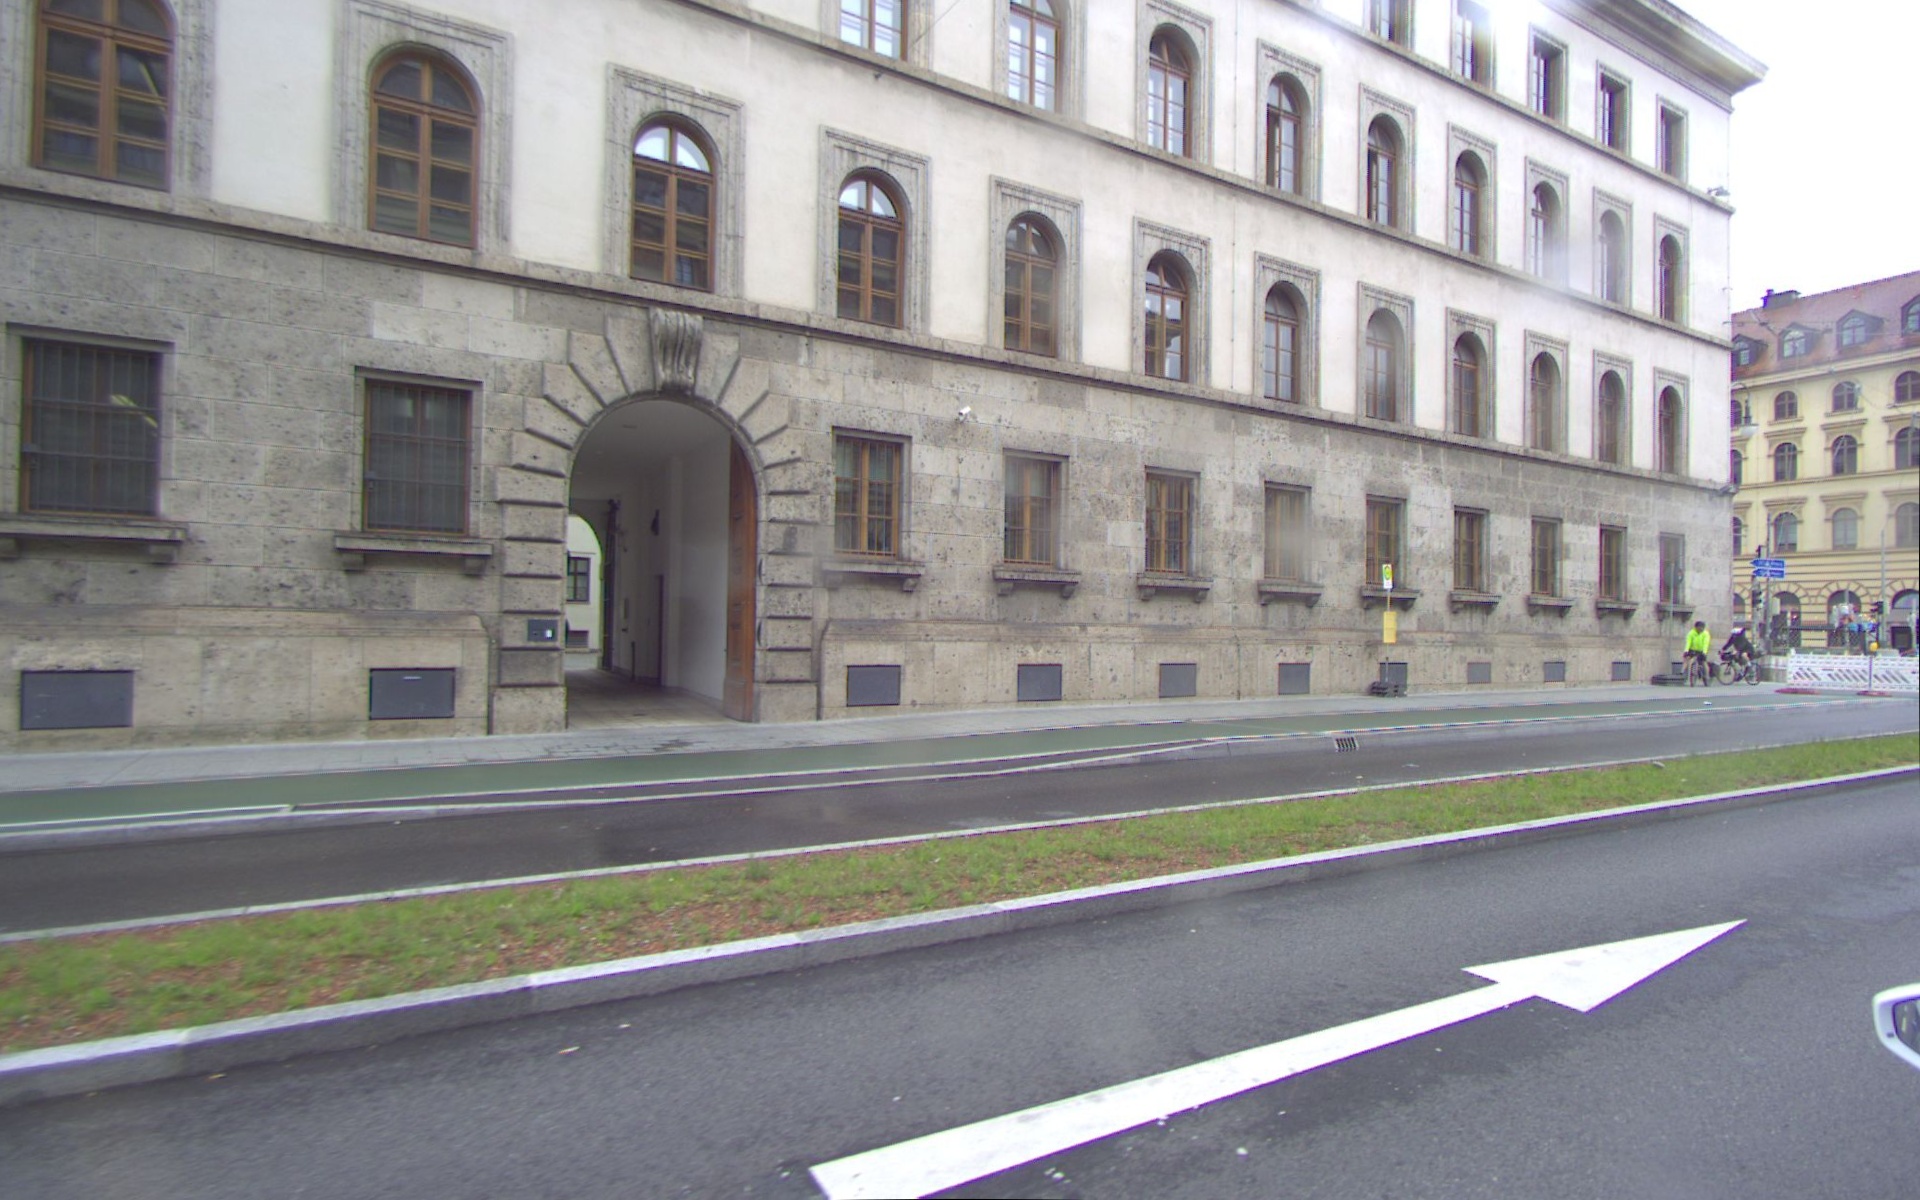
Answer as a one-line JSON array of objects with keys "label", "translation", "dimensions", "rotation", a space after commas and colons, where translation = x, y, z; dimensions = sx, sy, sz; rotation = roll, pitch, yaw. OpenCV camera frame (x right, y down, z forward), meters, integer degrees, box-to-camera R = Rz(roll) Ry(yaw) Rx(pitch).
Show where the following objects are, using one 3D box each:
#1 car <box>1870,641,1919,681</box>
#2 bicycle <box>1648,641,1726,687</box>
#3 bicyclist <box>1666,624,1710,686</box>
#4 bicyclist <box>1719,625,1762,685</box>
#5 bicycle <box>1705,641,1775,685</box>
[{"label": "car", "translation": [44.807, 2.853, 46.577], "dimensions": [1.854, 1.822, 3.708], "rotation": [2, -2, -41]}, {"label": "bicycle", "translation": [21.237, 1.862, 29.351], "dimensions": [2.416, 1.259, 0.784], "rotation": [1, 0, -26]}, {"label": "bicyclist", "translation": [21.280, 1.595, 29.360], "dimensions": [0.679, 1.772, 0.795], "rotation": [1, 0, -26]}, {"label": "bicyclist", "translation": [23.807, 1.671, 30.651], "dimensions": [0.679, 1.799, 0.795], "rotation": [1, 0, -26]}, {"label": "bicycle", "translation": [23.837, 1.916, 30.684], "dimensions": [2.169, 1.259, 0.784], "rotation": [1, 0, -26]}]
